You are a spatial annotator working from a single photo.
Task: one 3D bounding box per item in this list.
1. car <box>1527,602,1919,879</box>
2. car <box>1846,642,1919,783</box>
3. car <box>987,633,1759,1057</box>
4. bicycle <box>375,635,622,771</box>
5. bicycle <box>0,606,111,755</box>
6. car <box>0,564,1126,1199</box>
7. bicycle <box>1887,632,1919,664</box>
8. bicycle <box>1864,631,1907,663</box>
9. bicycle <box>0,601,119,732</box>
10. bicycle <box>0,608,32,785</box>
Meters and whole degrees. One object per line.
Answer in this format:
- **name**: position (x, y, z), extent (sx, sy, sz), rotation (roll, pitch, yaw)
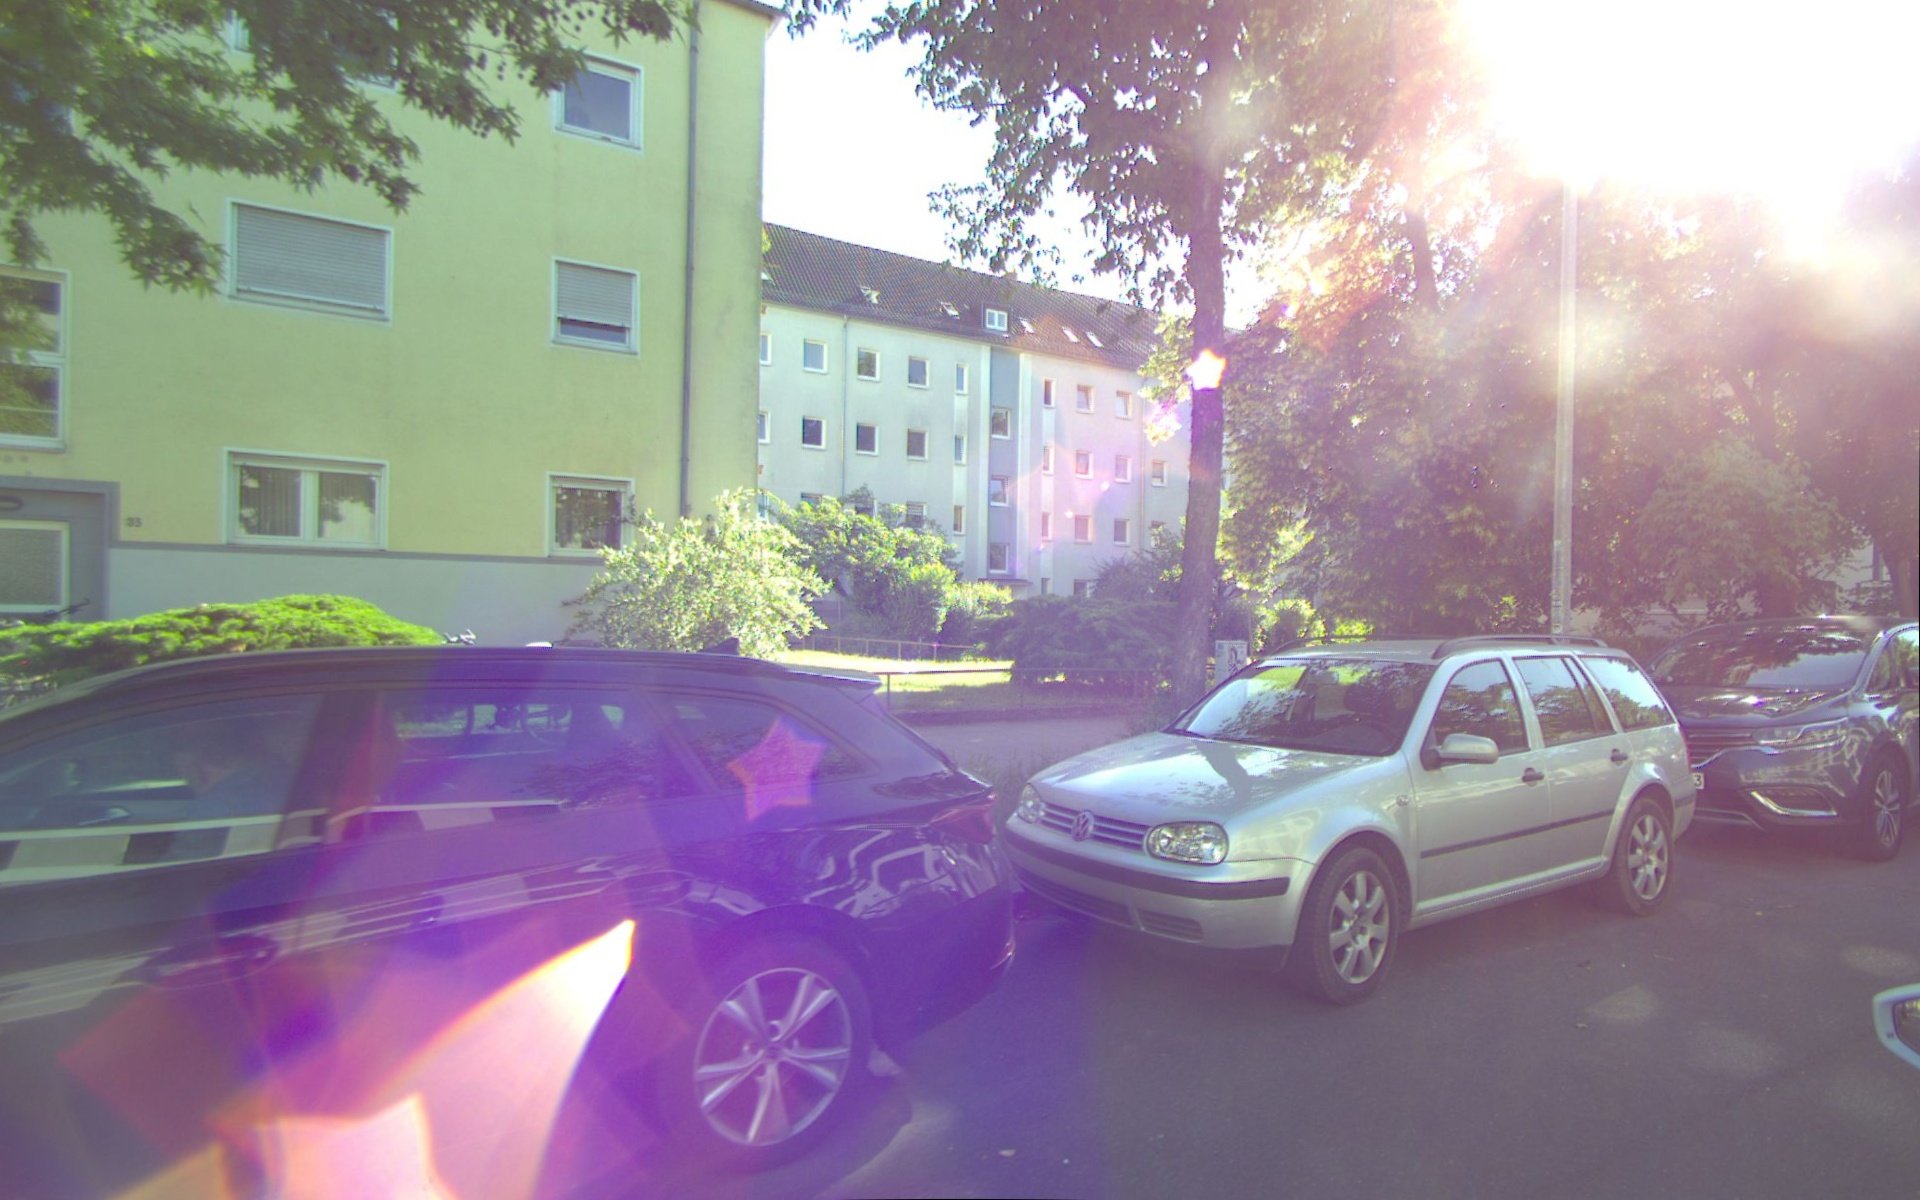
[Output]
- **car**: position (6.949, 0.926, 8.226), extent (5.030, 1.678, 1.832), rotation (1, -2, -32)
- **car**: position (11.427, 1.166, 10.897), extent (4.143, 1.391, 1.645), rotation (1, -2, -32)
- **car**: position (2.454, 0.947, 5.527), extent (4.440, 1.500, 1.697), rotation (1, -2, -32)
- **bicycle**: position (-4.033, 0.865, 8.845), extent (1.911, 1.075, 0.569), rotation (2, 0, -31)
- **bicycle**: position (-8.365, 0.686, 9.208), extent (0.583, 1.242, 1.627), rotation (1, 0, -30)
- **car**: position (-1.784, 0.698, 2.945), extent (4.439, 1.471, 1.784), rotation (1, -2, -32)
- **bicycle**: position (36.651, 1.838, 38.792), extent (1.888, 1.217, 0.683), rotation (1, -1, -29)
- **bicycle**: position (36.317, 1.833, 39.413), extent (1.888, 1.217, 0.683), rotation (1, -1, -29)
- **bicycle**: position (-9.555, 0.648, 10.608), extent (0.769, 1.242, 1.940), rotation (1, 0, -33)
- **bicycle**: position (-7.526, 0.695, 7.685), extent (0.513, 1.242, 1.621), rotation (1, 0, -40)
